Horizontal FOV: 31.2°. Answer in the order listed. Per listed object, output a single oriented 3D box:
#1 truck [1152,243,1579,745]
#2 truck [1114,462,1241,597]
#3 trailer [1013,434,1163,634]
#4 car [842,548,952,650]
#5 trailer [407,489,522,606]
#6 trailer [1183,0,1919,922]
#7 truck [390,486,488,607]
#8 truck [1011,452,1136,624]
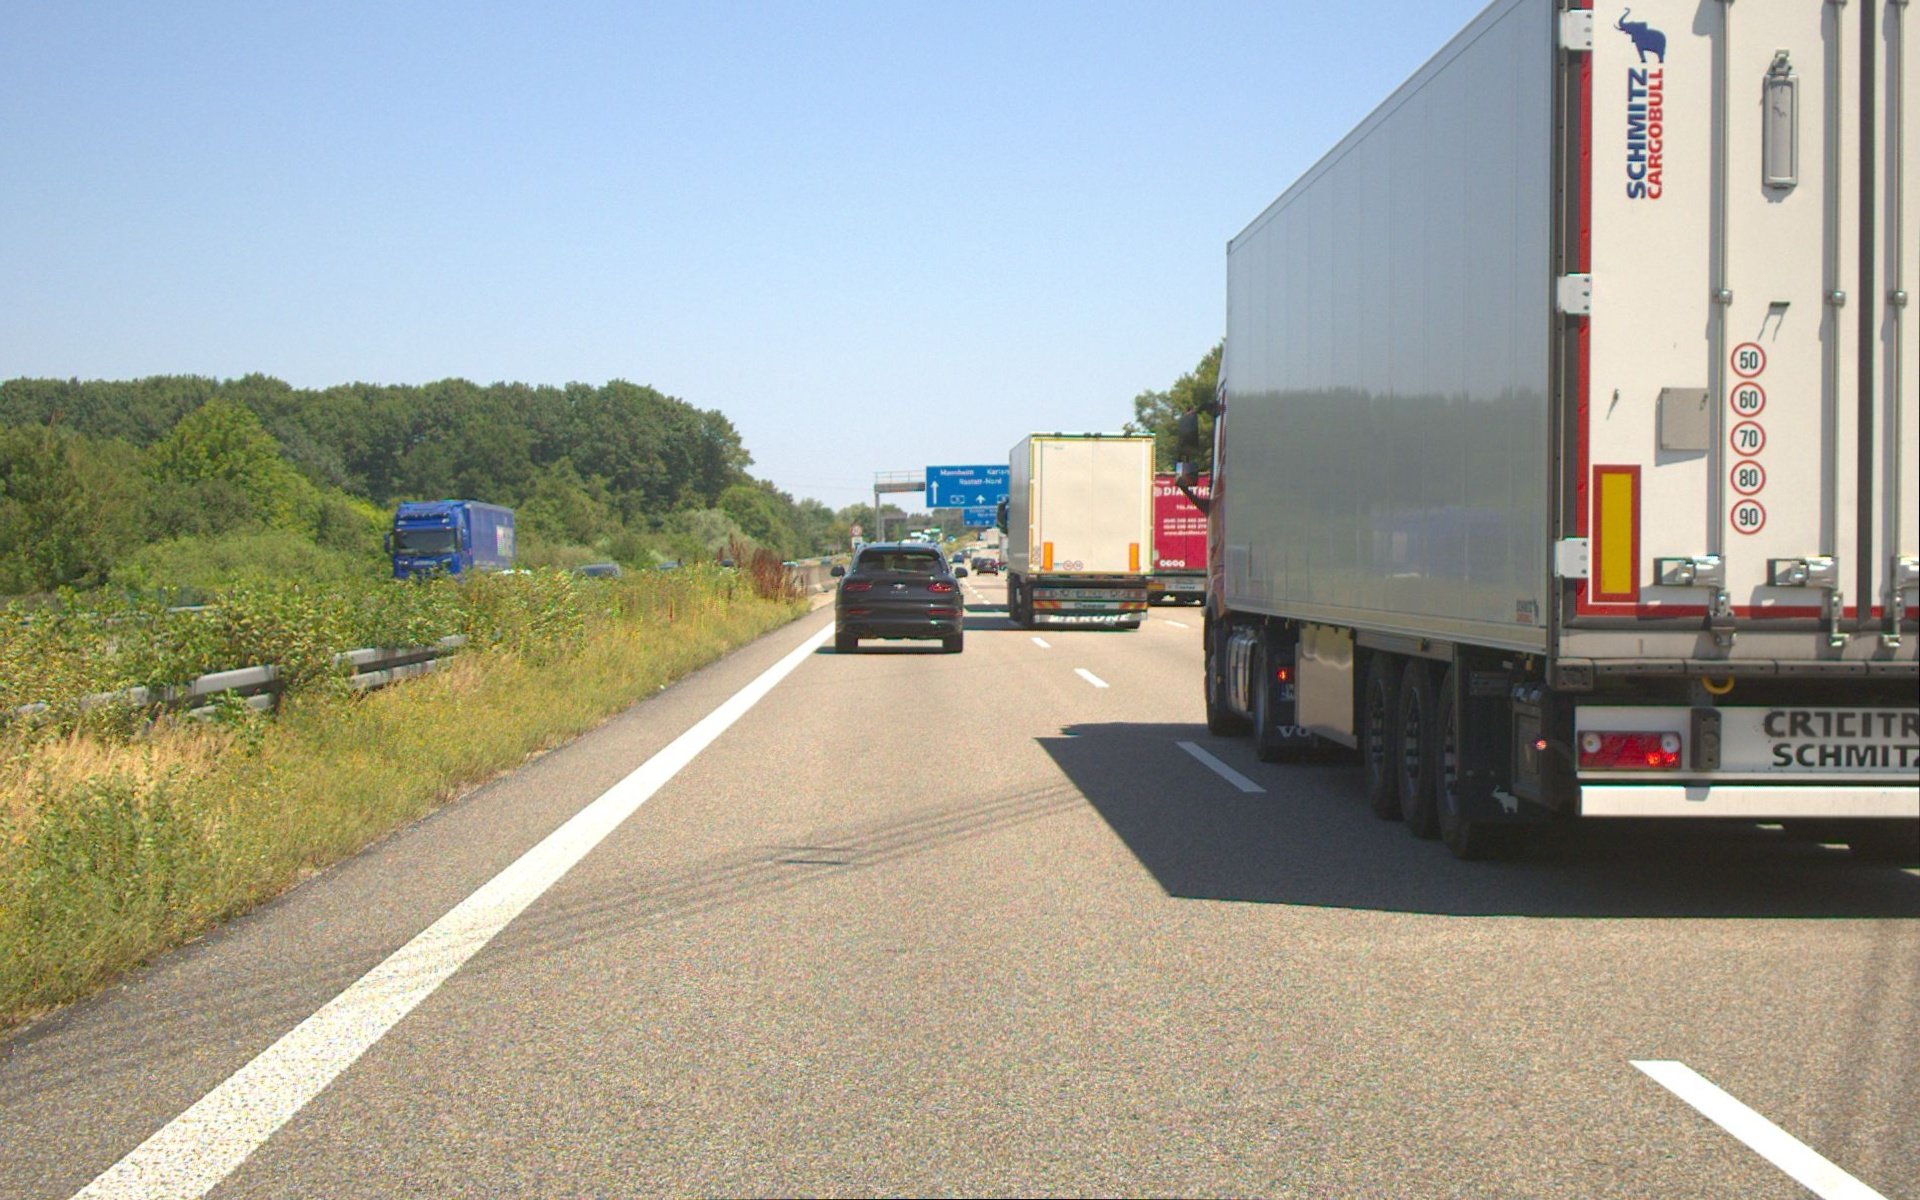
[{"bbox_3d":[3.412,-0.876,30.541,2.941,3.972,6.102,1,1,-1],"label":"truck"},{"bbox_3d":[6.910,-2.214,111.255,3.055,4.092,13.219,1,1,-1],"label":"truck"},{"bbox_3d":[2.683,-1.414,75.748,2.795,4.021,12.568,0,1,0],"label":"trailer"},{"bbox_3d":[-0.976,-0.043,54.070,1.660,1.544,3.783,0,1,-1],"label":"car"},{"bbox_3d":[-18.813,-2.004,131.303,2.472,4.117,13.467,-3,1,-1],"label":"trailer"},{"bbox_3d":[3.546,-0.790,21.939,2.937,4.004,16.201,1,1,-1],"label":"trailer"},{"bbox_3d":[-18.694,-1.917,123.592,2.467,4.119,5.684,-3,1,0],"label":"truck"},{"bbox_3d":[2.686,-1.478,82.980,2.800,3.993,6.021,0,1,0],"label":"truck"}]
